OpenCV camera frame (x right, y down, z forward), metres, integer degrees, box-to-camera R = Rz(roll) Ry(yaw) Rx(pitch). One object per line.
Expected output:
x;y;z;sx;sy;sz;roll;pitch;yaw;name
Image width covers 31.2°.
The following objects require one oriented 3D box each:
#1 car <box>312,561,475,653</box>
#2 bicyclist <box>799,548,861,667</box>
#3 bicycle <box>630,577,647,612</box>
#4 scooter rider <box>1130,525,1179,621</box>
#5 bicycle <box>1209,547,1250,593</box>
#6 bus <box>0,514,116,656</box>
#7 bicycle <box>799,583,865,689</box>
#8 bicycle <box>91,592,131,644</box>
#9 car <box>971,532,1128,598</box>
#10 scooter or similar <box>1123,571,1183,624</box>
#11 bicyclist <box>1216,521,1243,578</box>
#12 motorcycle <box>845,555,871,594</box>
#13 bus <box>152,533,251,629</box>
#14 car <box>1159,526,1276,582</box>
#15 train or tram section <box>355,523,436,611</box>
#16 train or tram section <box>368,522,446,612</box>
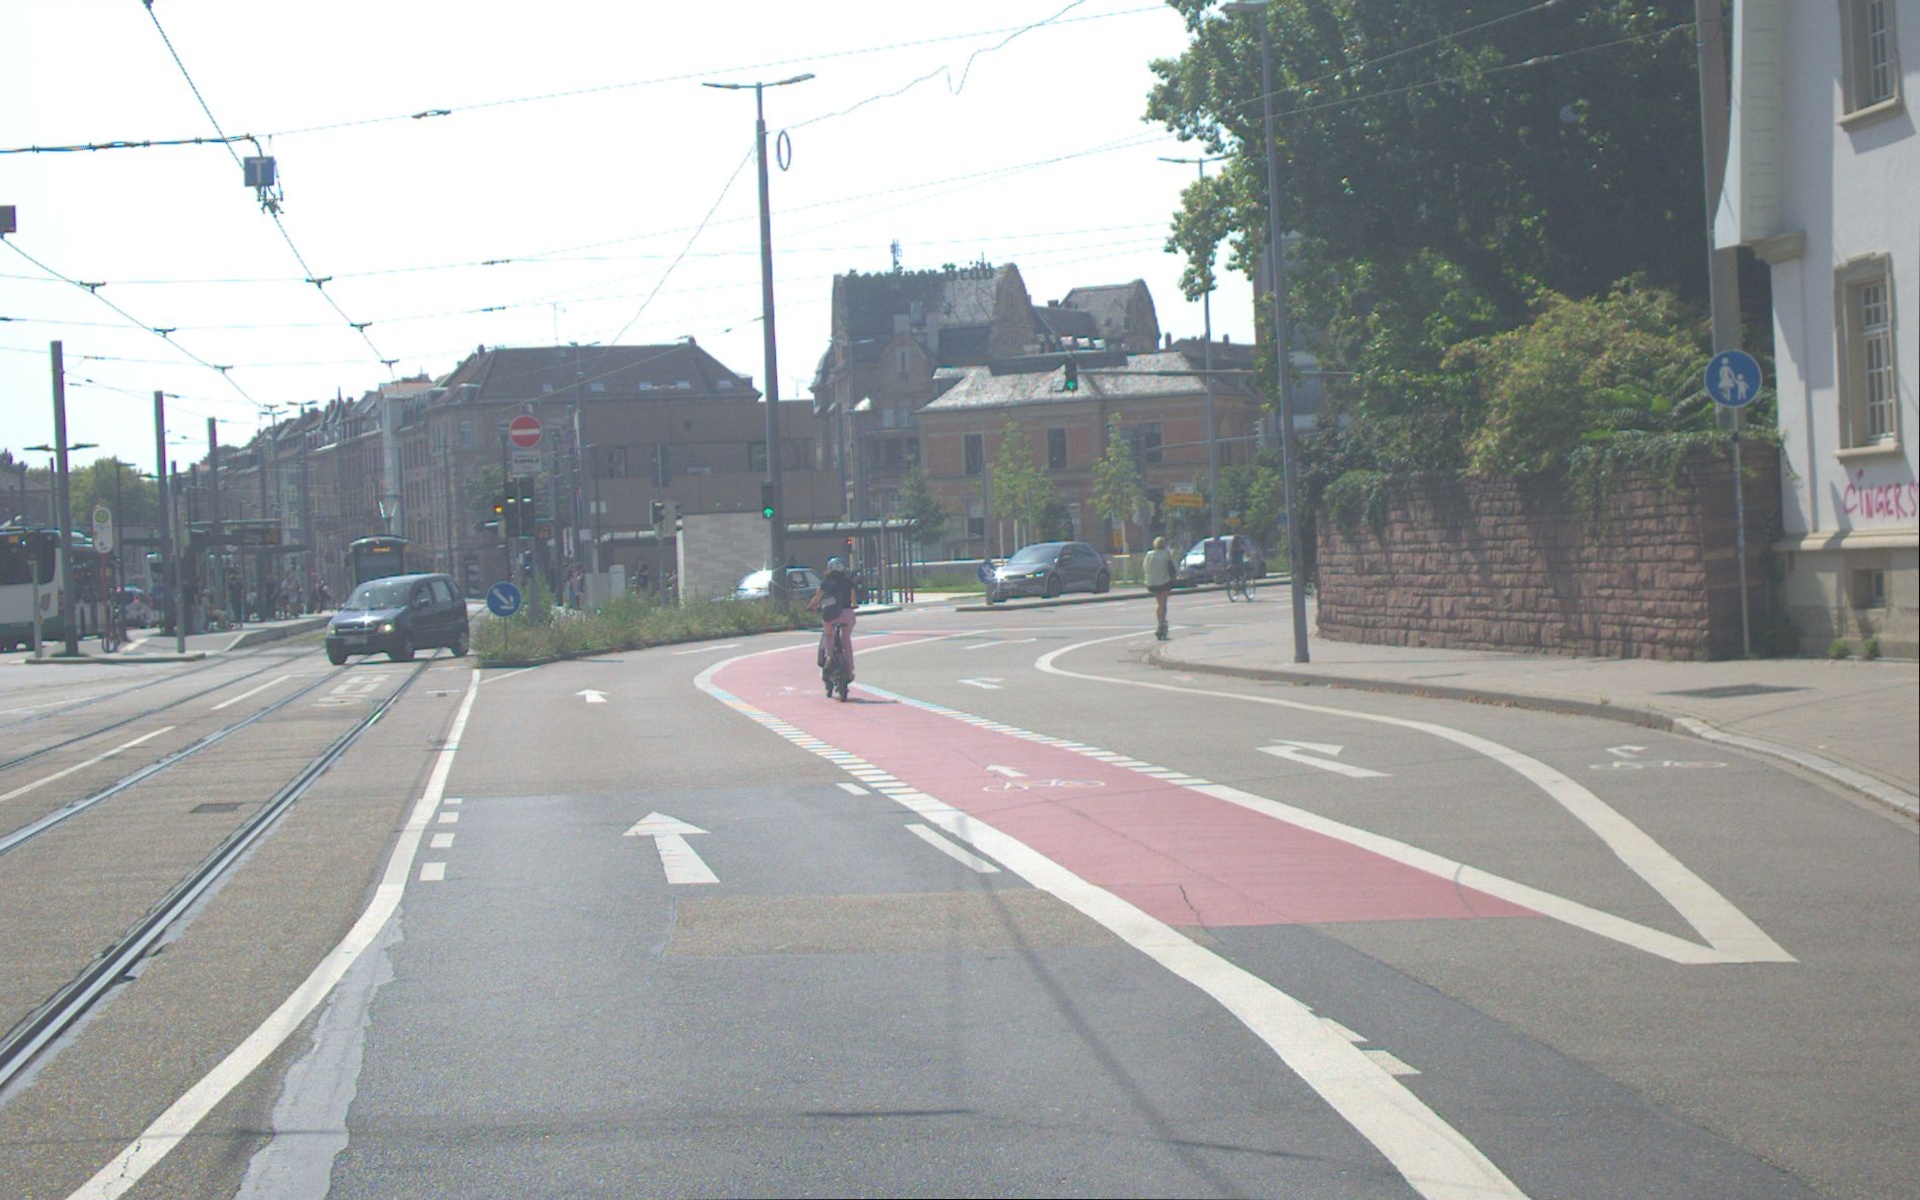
-10.968;0.118;66.786;1.692;1.649;3.578;-2;1;16;car
-1.499;0.084;39.498;0.602;1.330;0.660;-3;1;-7;bicyclist
-9.762;-0.181;104.380;0.464;1.029;1.548;-2;1;-6;bicycle
3.663;-0.510;64.755;0.762;1.769;0.555;-2;1;14;scooter rider
6.808;-0.757;86.761;0.445;1.113;1.444;-3;1;28;bicycle
-26.080;-0.420;97.511;2.957;3.762;10.599;-2;1;-8;bus
-1.482;0.399;39.597;0.604;1.159;1.811;-3;1;-6;bicycle
-20.920;0.439;84.699;0.607;1.218;1.705;-3;1;-3;bicycle
2.486;-0.969;94.284;1.776;1.605;4.663;-2;1;39;car
3.633;-0.045;64.551;0.772;0.923;1.619;-2;1;15;scooter or similar
6.797;-1.269;86.786;0.450;1.416;0.495;-3;1;28;bicyclist
-3.274;-0.826;110.603;0.604;1.206;2.253;-2;1;4;motorcycle
-31.391;-0.798;142.654;2.709;3.714;10.421;-2;1;-6;bus
7.849;-1.402;104.624;1.653;1.525;4.318;-2;1;32;car
-24.512;-1.415;149.881;2.856;3.536;17.746;-2;1;-8;train or tram section
-26.925;-1.589;168.142;2.886;4.054;19.145;-2;1;-7;train or tram section
